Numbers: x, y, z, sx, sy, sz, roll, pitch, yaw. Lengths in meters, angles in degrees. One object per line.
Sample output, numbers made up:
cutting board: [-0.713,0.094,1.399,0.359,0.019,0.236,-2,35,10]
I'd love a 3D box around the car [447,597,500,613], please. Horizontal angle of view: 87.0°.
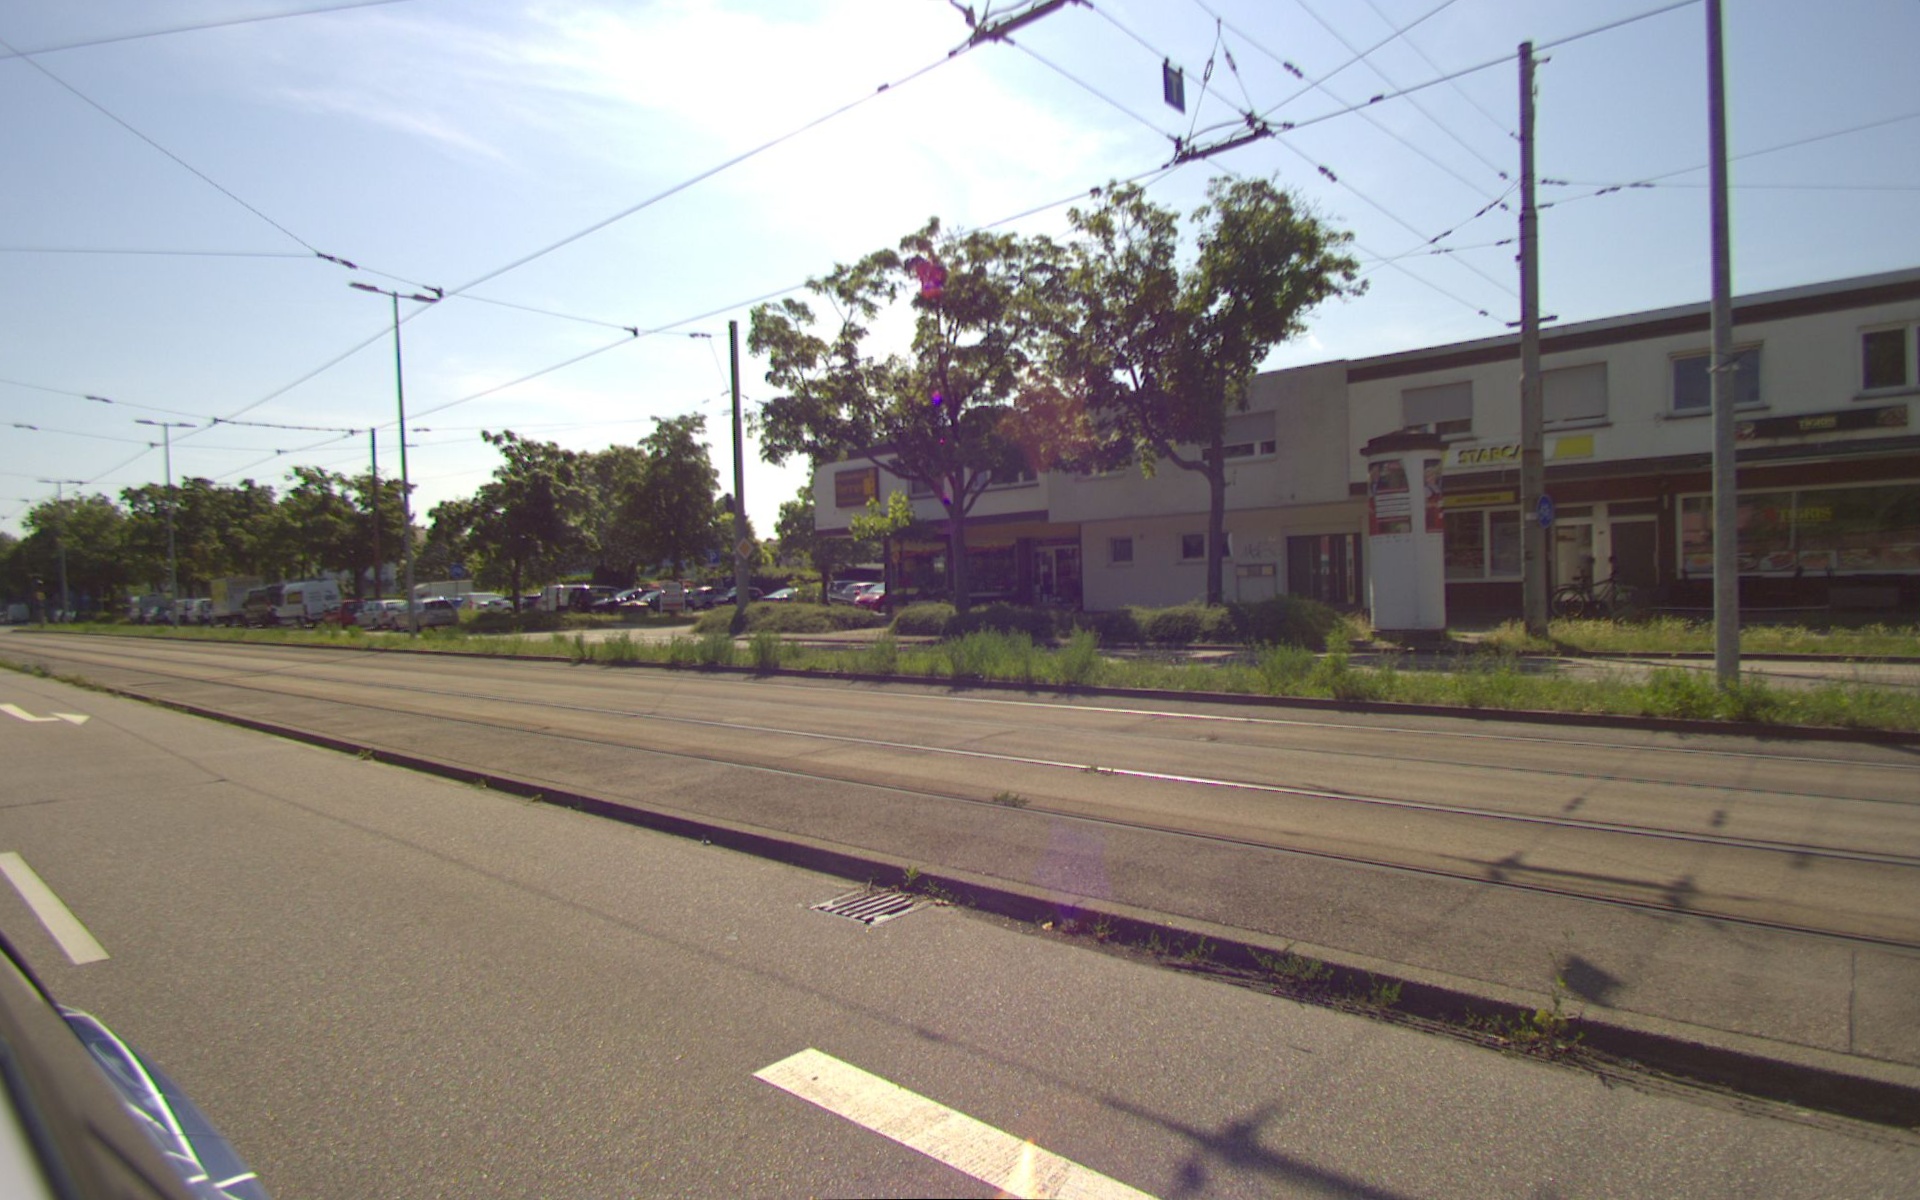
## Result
car: [-45.926,0.426,95.646,1.676,1.345,4.198,-1,1,41]

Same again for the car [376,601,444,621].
car: [-42.058,0.812,77.444,1.676,1.345,4.198,-1,1,41]

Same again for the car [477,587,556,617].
car: [-28.017,0.115,64.008,1.988,1.751,4.068,-1,1,38]

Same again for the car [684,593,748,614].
car: [-17.218,0.255,71.559,1.676,1.345,4.197,-1,1,42]

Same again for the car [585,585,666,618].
car: [-17.956,0.083,54.438,1.676,1.646,3.761,-1,1,42]

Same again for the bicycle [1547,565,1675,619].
bicycle: [14.691,-0.157,22.897,2.333,1.161,0.779,-1,-1,42]

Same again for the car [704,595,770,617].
car: [-15.367,0.374,69.818,1.676,1.345,4.197,-1,1,42]

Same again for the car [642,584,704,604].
car: [-21.154,-0.473,74.624,1.674,1.345,4.201,-1,1,39]

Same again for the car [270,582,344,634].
car: [-37.244,0.472,57.661,5.201,2.673,2.036,-1,4,41]

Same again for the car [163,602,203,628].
car: [-59.741,1.188,77.833,4.056,1.859,1.484,-1,4,40]

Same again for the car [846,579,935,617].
car: [-3.238,-0.110,47.990,1.676,1.616,4.197,-1,1,42]

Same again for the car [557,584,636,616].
car: [-20.255,0.000,56.500,1.676,1.646,3.761,-1,1,42]

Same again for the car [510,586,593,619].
car: [-24.030,0.135,59.675,1.988,1.751,4.068,-1,1,38]

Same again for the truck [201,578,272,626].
truck: [-48.378,0.163,67.621,5.902,2.956,2.476,-1,4,42]

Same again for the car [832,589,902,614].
car: [-5.602,0.063,61.623,1.676,1.345,4.197,-1,1,42]

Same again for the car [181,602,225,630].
car: [-54.743,1.152,73.140,4.631,1.817,1.483,-1,4,41]

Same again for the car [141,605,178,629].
car: [-64.397,1.379,81.377,3.685,1.799,1.484,-1,4,40]

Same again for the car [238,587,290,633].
car: [-42.336,0.609,61.511,4.005,2.643,1.483,-1,4,41]

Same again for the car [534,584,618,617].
car: [-22.055,0.000,58.193,1.988,1.751,4.068,-1,1,38]

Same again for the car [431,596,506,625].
car: [-33.290,0.709,68.428,5.739,1.825,2.560,-1,1,42]

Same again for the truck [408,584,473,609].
truck: [-52.892,-0.367,103.097,1.988,2.398,5.584,-1,1,38]

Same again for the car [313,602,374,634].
car: [-33.146,0.970,54.378,3.791,1.544,1.654,-1,4,41]

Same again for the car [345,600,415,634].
car: [-29.262,0.864,51.019,4.255,1.544,1.654,-1,4,41]

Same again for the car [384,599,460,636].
car: [-25.202,0.828,47.320,4.255,1.544,1.654,-1,4,41]
